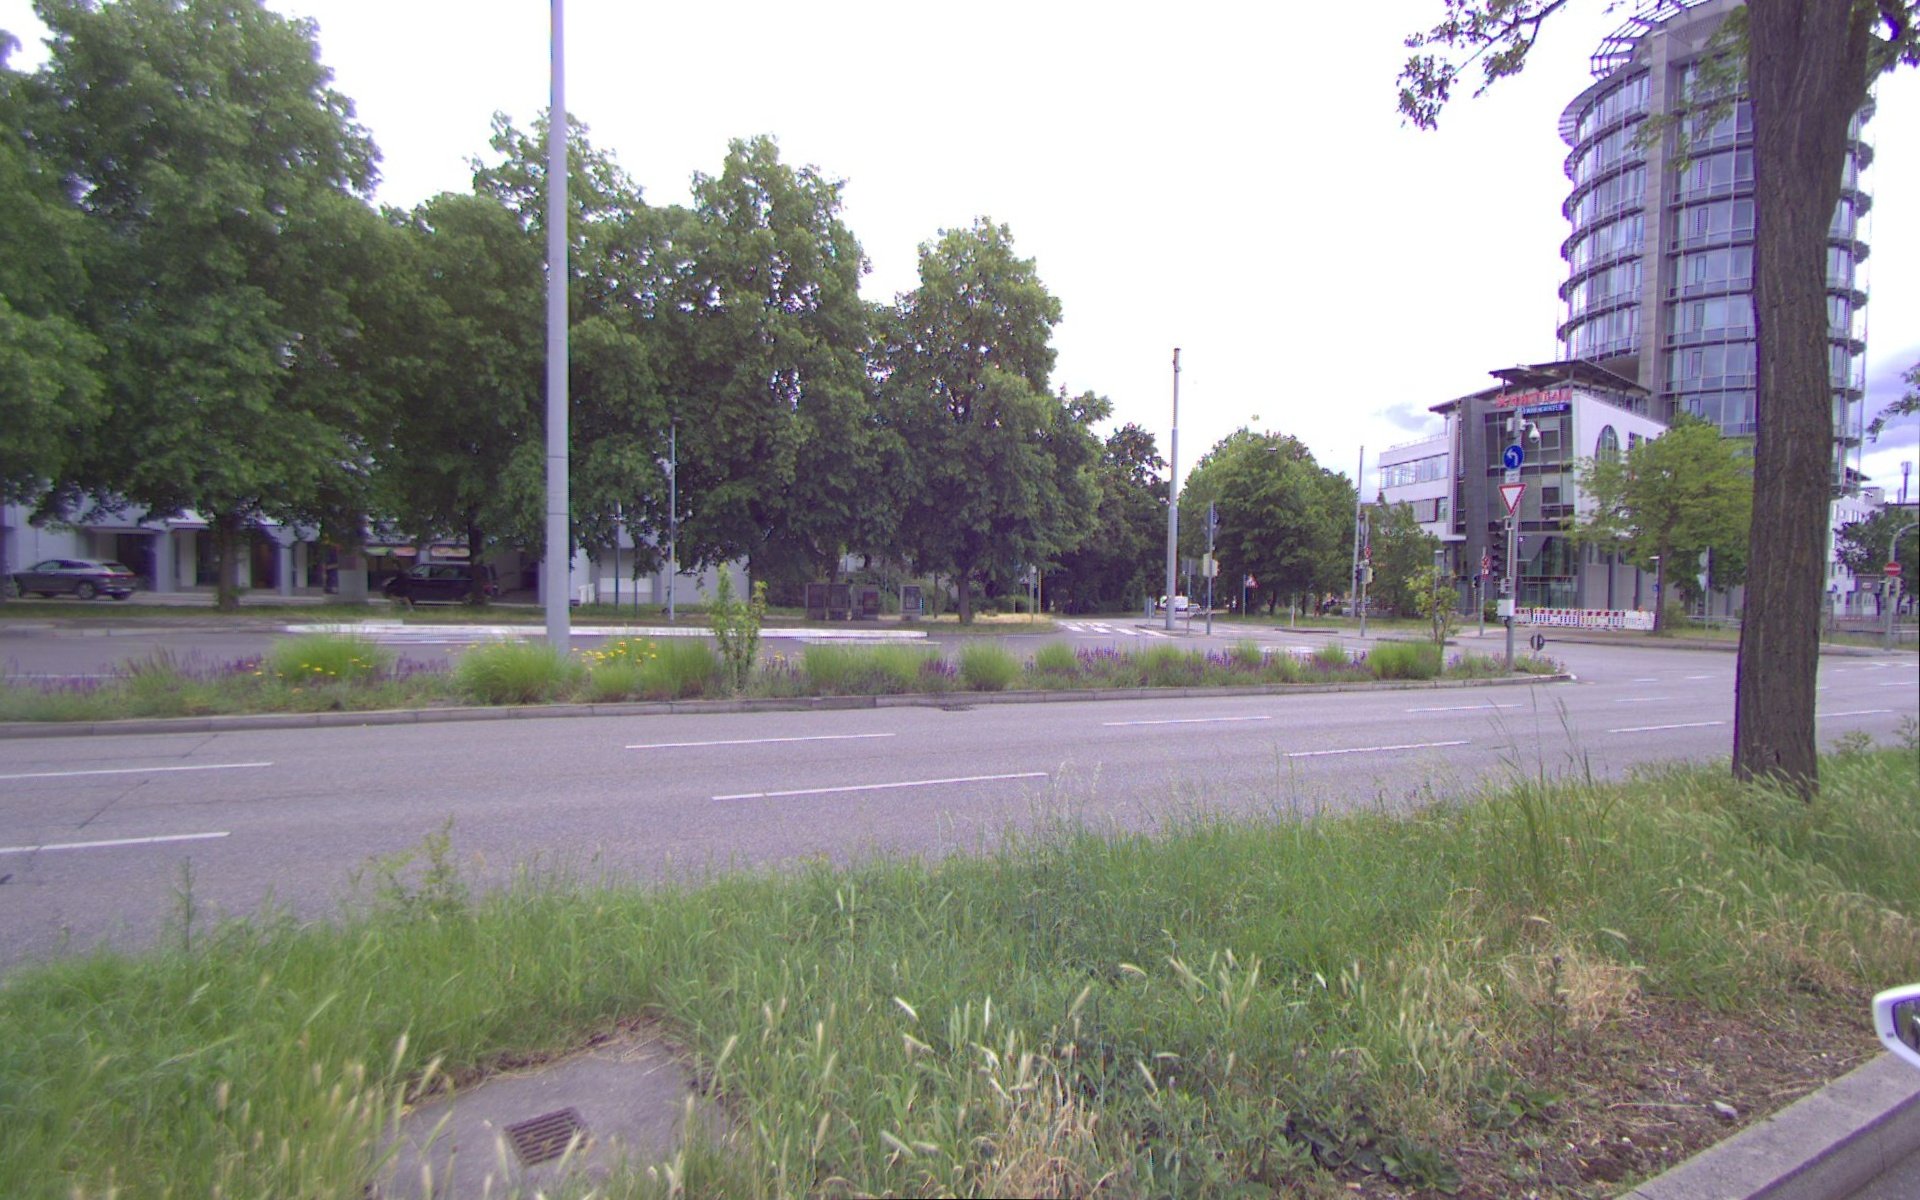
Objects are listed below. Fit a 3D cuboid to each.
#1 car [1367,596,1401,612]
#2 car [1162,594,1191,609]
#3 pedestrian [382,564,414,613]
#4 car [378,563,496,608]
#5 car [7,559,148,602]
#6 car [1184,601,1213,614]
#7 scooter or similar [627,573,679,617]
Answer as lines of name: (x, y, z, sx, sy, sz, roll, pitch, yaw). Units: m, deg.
car: (25.044, 0.233, 59.398, 1.684, 0.888, 0.776, 1, 0, 7)
car: (37.797, 0.259, 175.596, 4.475, 2.370, 1.994, 2, 0, -16)
pedestrian: (-18.555, -0.388, 33.145, 0.894, 1.578, 0.766, 1, 1, -30)
car: (-23.315, -0.642, 44.958, 4.345, 1.872, 1.781, 1, 1, -16)
car: (-34.397, -0.763, 39.204, 3.921, 1.532, 1.760, 2, 1, 0)
car: (40.685, 1.288, 171.295, 4.475, 2.061, 1.993, 1, 1, -16)
scooter or similar: (-11.870, -0.187, 38.859, 1.835, 1.686, 0.645, 1, 1, -43)
